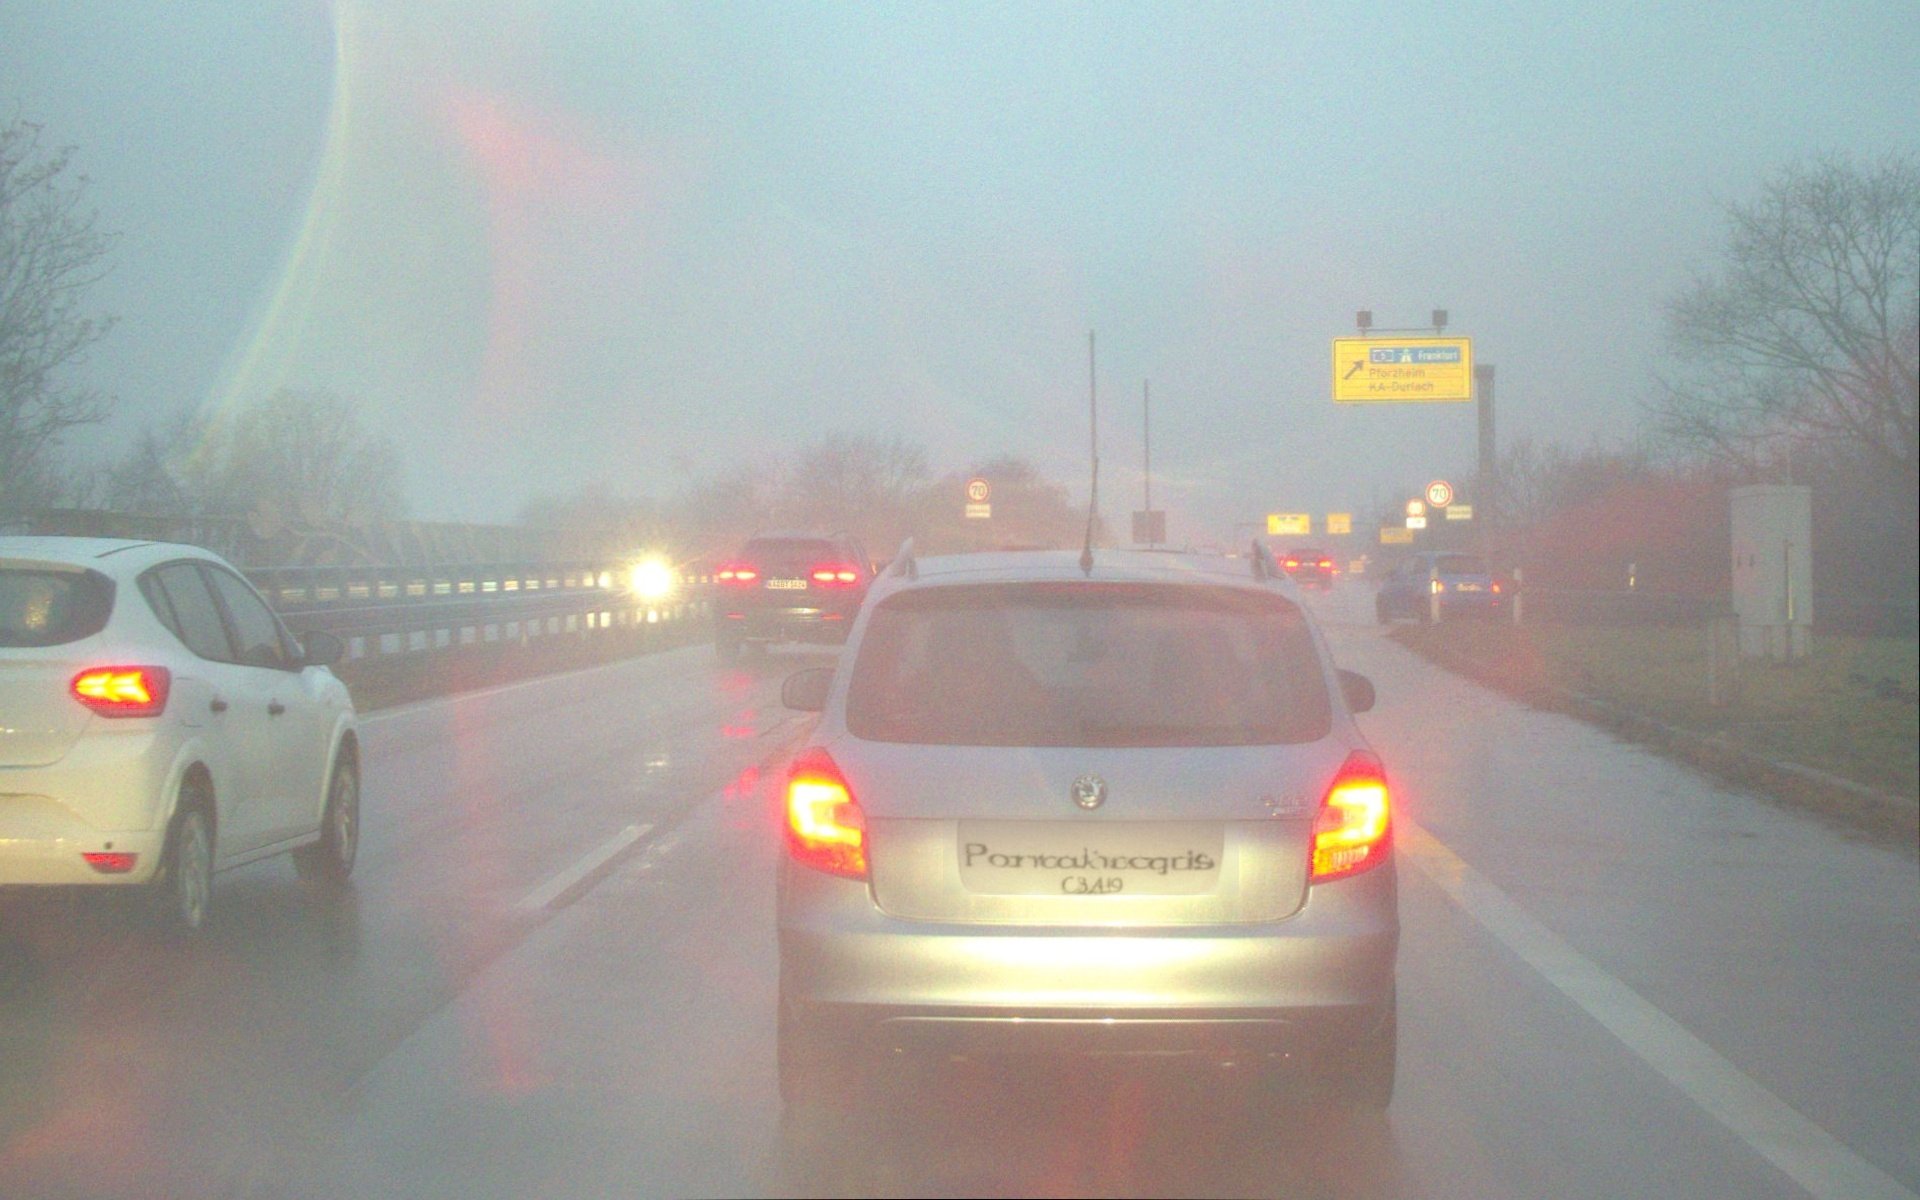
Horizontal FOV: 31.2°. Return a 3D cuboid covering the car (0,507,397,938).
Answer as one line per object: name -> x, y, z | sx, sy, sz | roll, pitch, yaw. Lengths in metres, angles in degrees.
car -> -3.512, 0.393, 13.622 | 1.724, 1.435, 4.225 | 0, 1, 2

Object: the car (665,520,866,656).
car -> -2.407, -0.183, 43.560 | 1.994, 1.596, 4.308 | 1, 1, 4

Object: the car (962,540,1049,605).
car -> 1.136, -0.689, 83.357 | 1.790, 1.540, 3.999 | 0, 1, 5

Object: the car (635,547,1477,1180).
car -> 0.260, 0.609, 10.254 | 1.993, 1.495, 4.137 | 0, 1, 1

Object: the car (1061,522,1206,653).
car -> 2.494, -0.208, 48.613 | 1.897, 1.761, 4.308 | 0, 1, 5

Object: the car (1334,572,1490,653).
car -> 9.023, 0.222, 68.949 | 1.789, 1.540, 4.001 | -1, 1, -13
